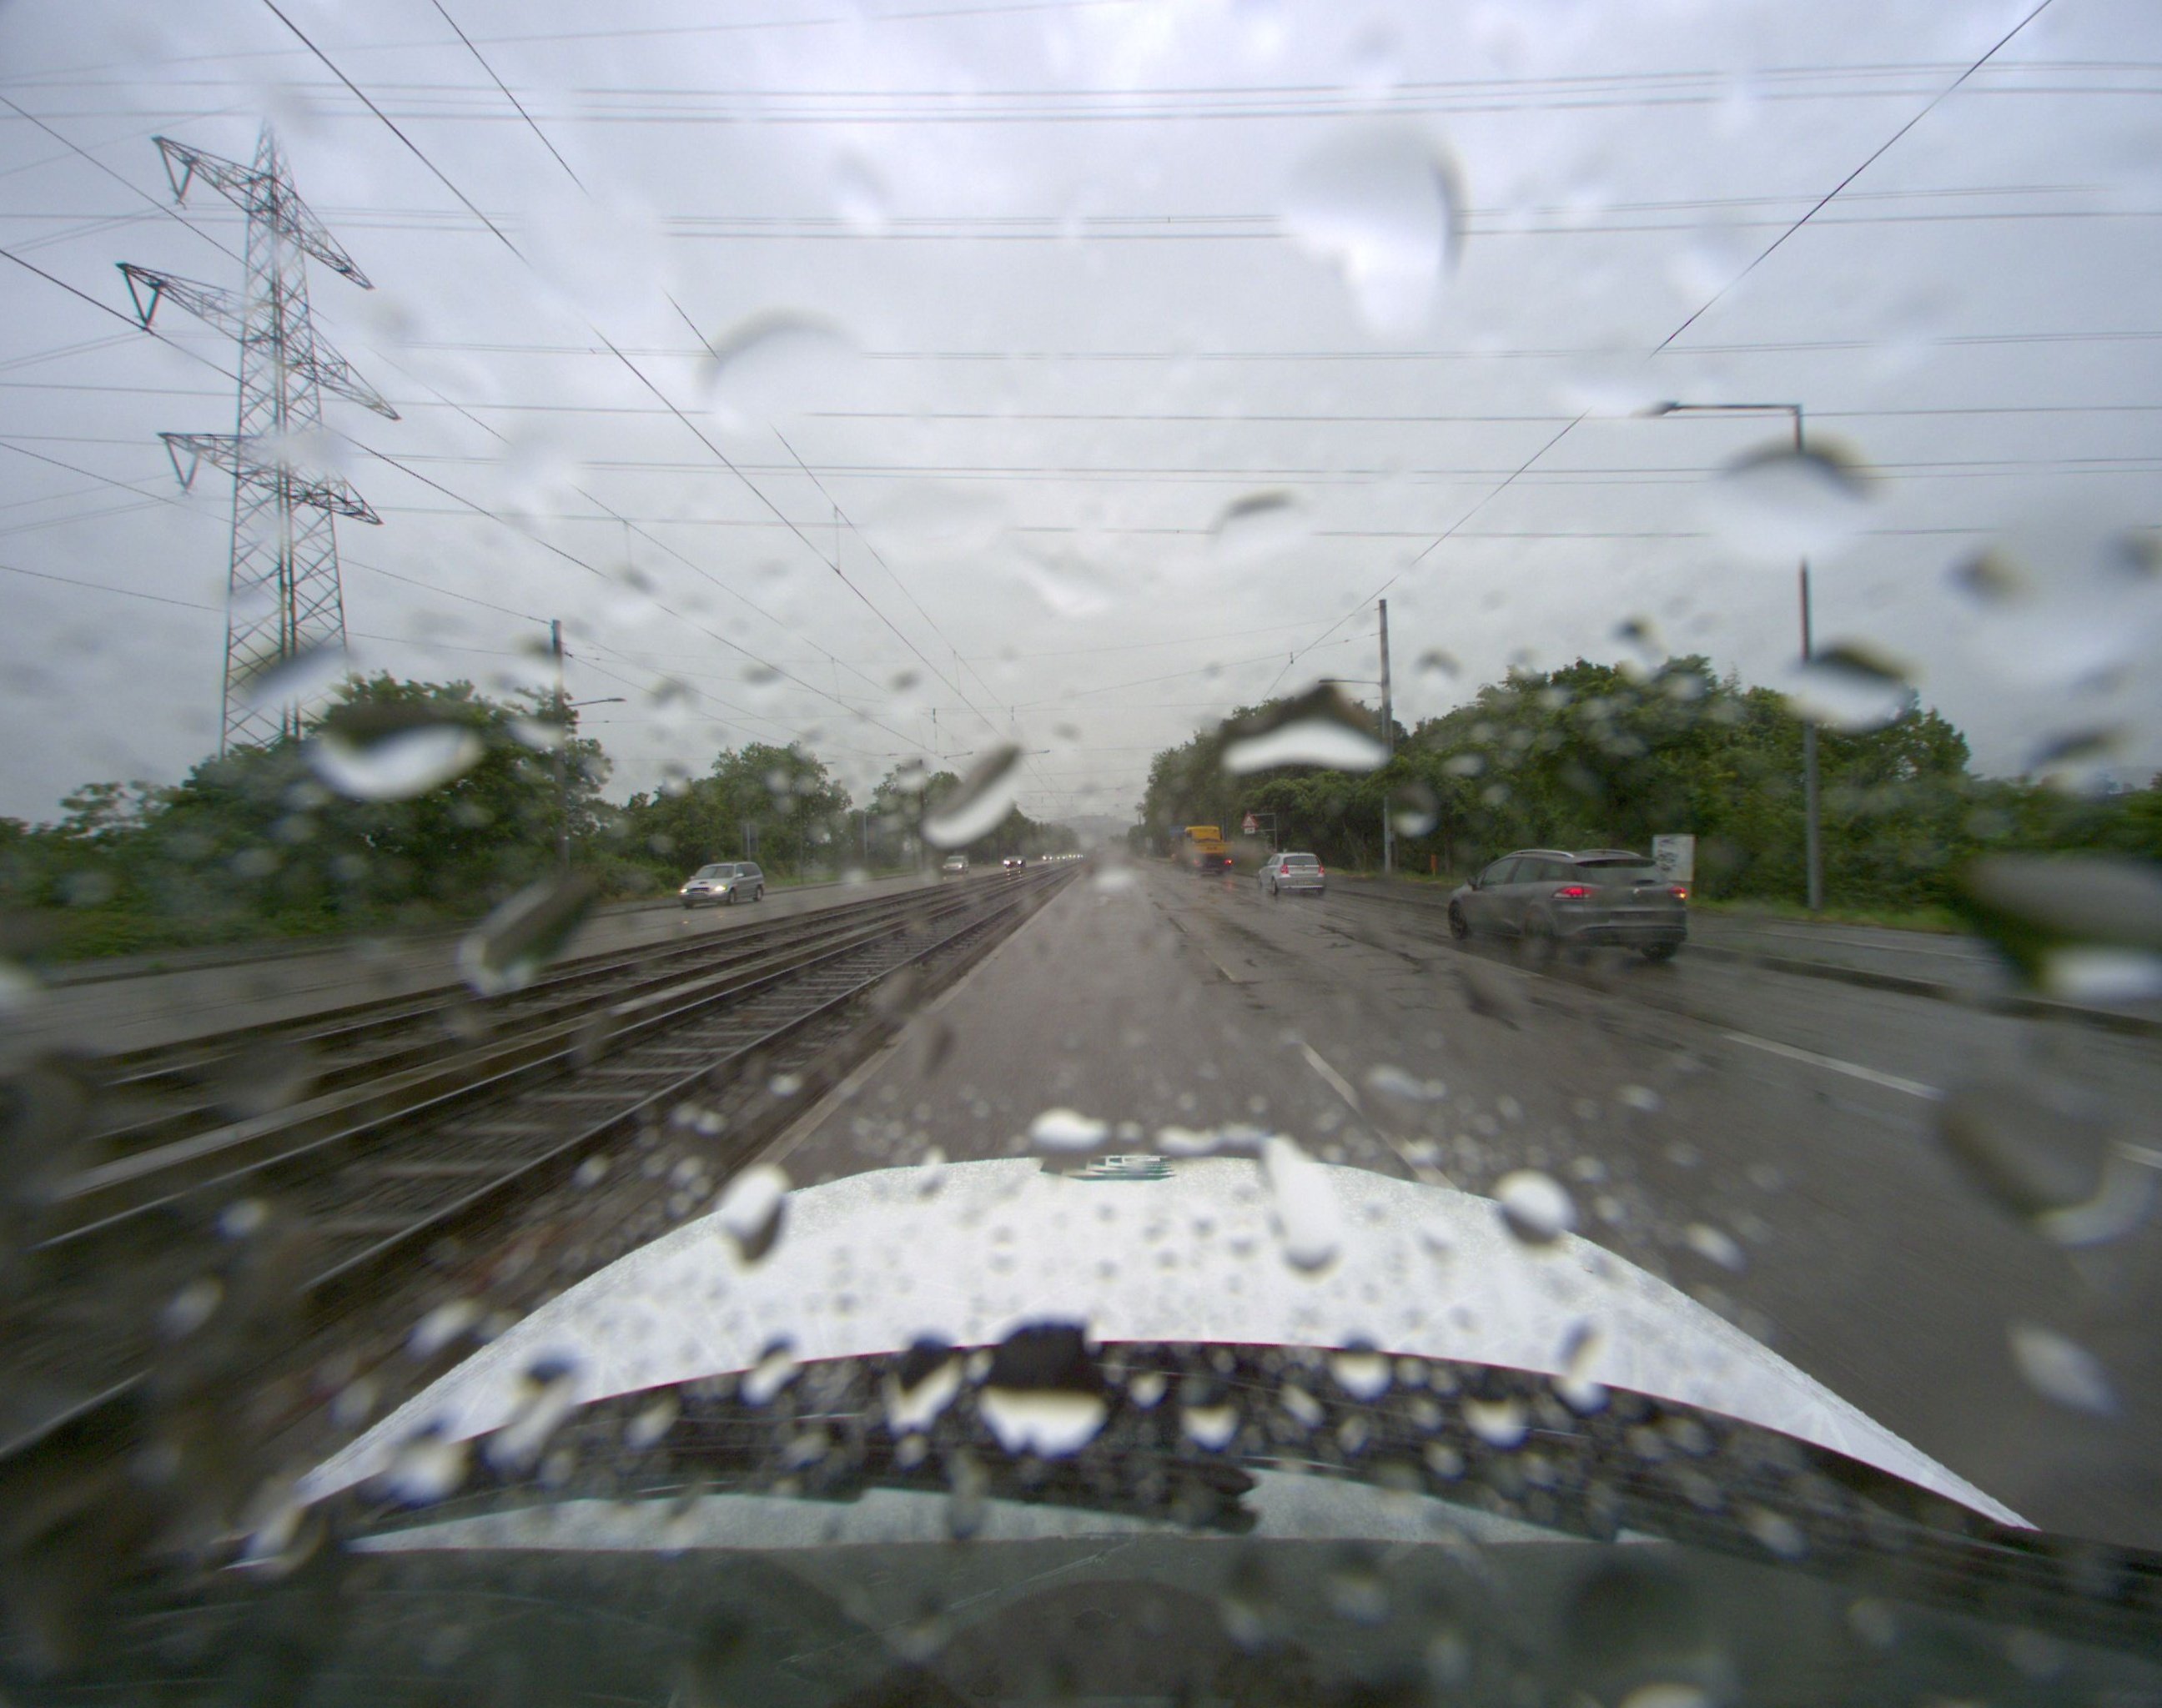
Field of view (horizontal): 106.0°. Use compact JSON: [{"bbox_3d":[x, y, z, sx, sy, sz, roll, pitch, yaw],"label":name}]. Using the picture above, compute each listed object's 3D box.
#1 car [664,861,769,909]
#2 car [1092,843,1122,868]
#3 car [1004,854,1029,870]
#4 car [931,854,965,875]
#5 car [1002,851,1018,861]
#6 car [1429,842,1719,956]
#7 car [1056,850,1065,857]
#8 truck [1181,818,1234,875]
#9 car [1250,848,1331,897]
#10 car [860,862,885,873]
[{"bbox_3d":[-14.653,1.196,33.111,1.818,1.635,5.139,0,1,1],"label":"car"},{"bbox_3d":[1.859,0.076,56.684,1.981,1.683,3.743,0,1,3],"label":"car"},{"bbox_3d":[-7.398,0.901,93.892,1.984,1.464,5.258,-4,1,5],"label":"car"},{"bbox_3d":[-11.114,0.825,68.456,1.835,1.574,5.068,0,1,1],"label":"car"},{"bbox_3d":[-10.183,0.273,117.374,1.751,1.362,5.074,0,1,2],"label":"car"},{"bbox_3d":[6.890,0.520,12.017,1.880,1.357,4.281,0,1,3],"label":"car"},{"bbox_3d":[-4.658,-0.116,185.804,1.735,1.354,4.548,0,1,2],"label":"car"},{"bbox_3d":[7.757,-0.482,50.535,2.545,3.257,6.939,0,1,3],"label":"truck"},{"bbox_3d":[7.146,0.559,28.195,1.621,1.503,4.606,0,1,0],"label":"car"},{"bbox_3d":[-34.457,2.147,134.541,1.858,1.686,4.593,-1,1,-43],"label":"car"}]
